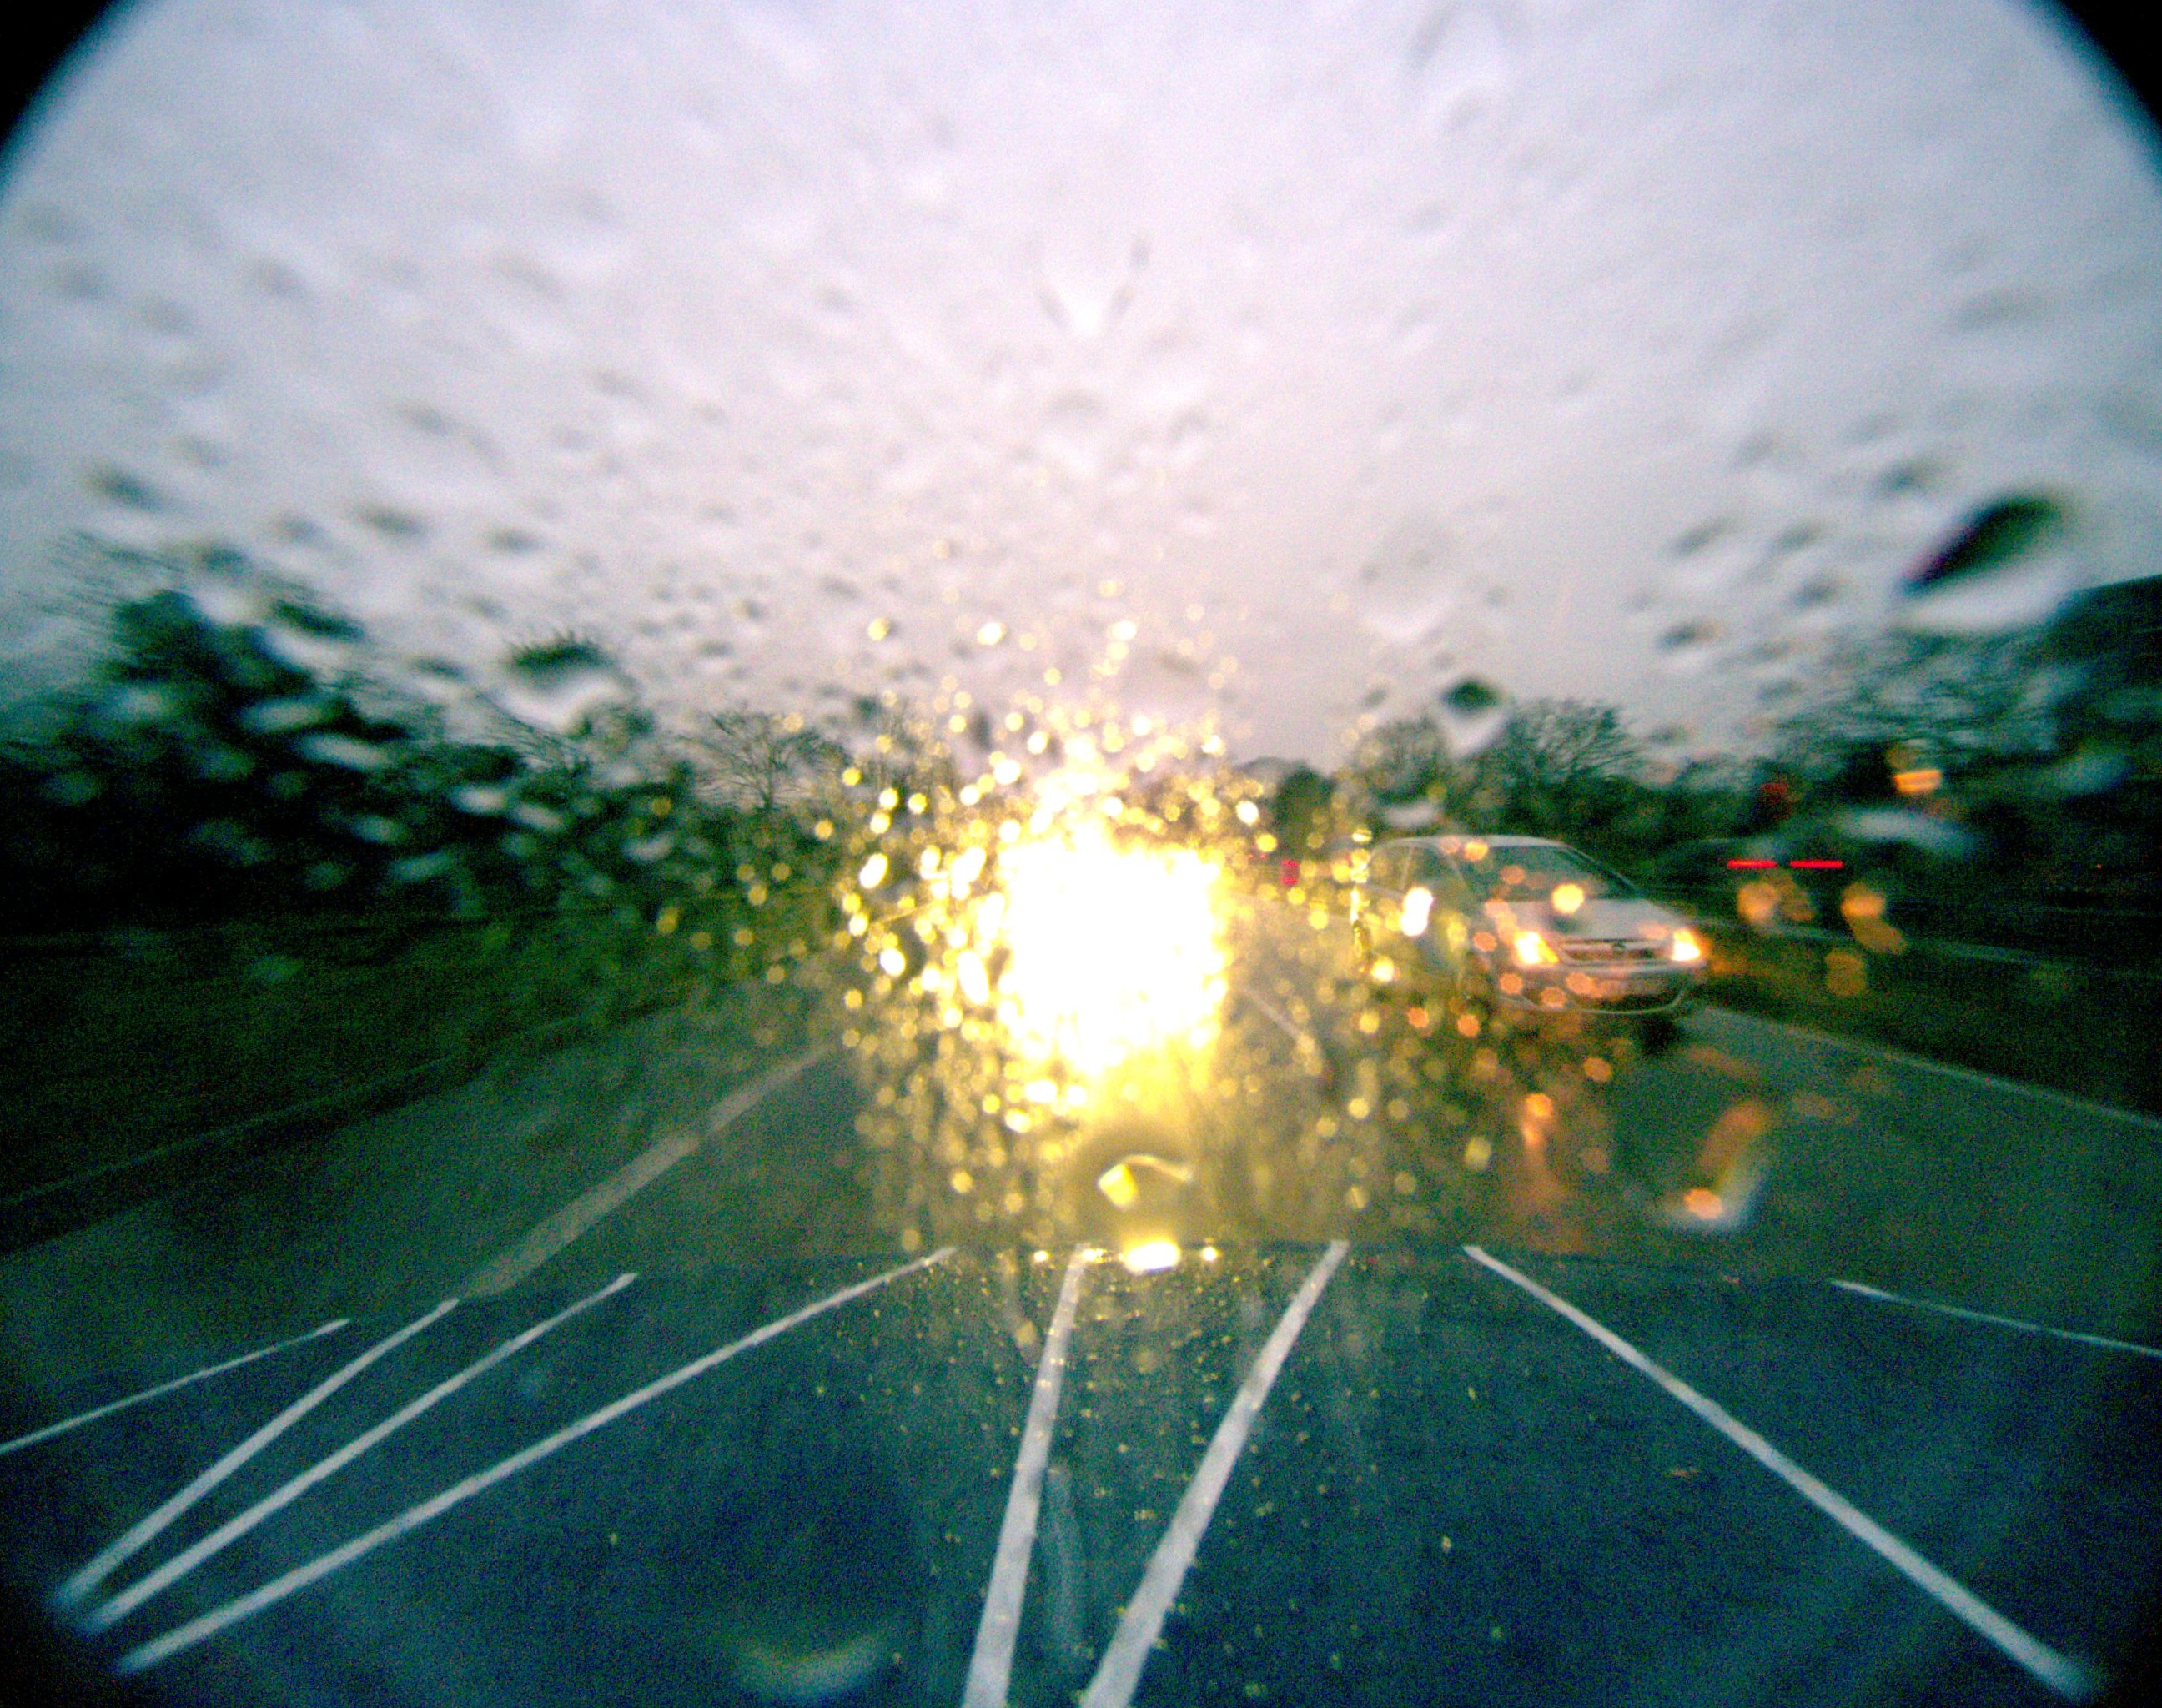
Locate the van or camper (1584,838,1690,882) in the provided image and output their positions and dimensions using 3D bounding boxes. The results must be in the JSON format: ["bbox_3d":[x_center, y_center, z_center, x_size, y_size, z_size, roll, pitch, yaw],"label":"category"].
[{"bbox_3d":[24.053,0.218,33.090,1.653,1.773,4.208,-1,1,2],"label":"van or camper"}]

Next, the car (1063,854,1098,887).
[{"bbox_3d":[0.012,0.838,40.789,1.728,1.573,3.790,-1,1,2],"label":"car"}]

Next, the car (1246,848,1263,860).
[{"bbox_3d":[26.609,-0.018,116.450,1.787,1.599,4.682,-1,1,3],"label":"car"}]

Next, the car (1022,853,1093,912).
[{"bbox_3d":[-0.612,0.772,22.715,1.830,1.524,4.000,-1,1,2],"label":"car"}]

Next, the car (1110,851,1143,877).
[{"bbox_3d":[2.613,0.537,44.163,1.697,1.327,3.999,-2,1,1],"label":"car"}]

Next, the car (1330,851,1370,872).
[{"bbox_3d":[20.580,0.541,58.275,1.788,1.524,4.052,-1,1,2],"label":"car"}]

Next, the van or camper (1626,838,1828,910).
[{"bbox_3d":[17.580,0.472,21.057,1.765,1.726,4.885,-1,0,5],"label":"van or camper"}]

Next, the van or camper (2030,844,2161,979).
[{"bbox_3d":[12.674,0.642,7.424,1.530,1.473,4.435,-1,0,5],"label":"van or camper"}]

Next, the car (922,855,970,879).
[{"bbox_3d":[-8.927,0.855,50.570,1.726,1.426,3.794,-1,1,14],"label":"car"}]

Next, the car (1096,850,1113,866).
[{"bbox_3d":[2.670,0.449,88.248,1.852,1.610,3.951,-2,1,1],"label":"car"}]

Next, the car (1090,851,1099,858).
[{"bbox_3d":[3.215,0.136,179.682,1.999,1.605,3.999,-1,0,-2],"label":"car"}]

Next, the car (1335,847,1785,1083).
[{"bbox_3d":[4.013,0.755,7.348,1.765,1.590,4.164,-1,1,1],"label":"car"}]

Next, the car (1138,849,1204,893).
[{"bbox_3d":[3.497,0.612,30.129,2.027,1.522,4.144,-1,1,-1],"label":"car"}]

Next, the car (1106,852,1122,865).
[{"bbox_3d":[4.533,0.623,104.981,1.998,1.605,4.000,-1,0,1],"label":"car"}]

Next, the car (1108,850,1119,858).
[{"bbox_3d":[6.562,0.063,154.588,1.998,1.605,4.000,-1,0,1],"label":"car"}]
